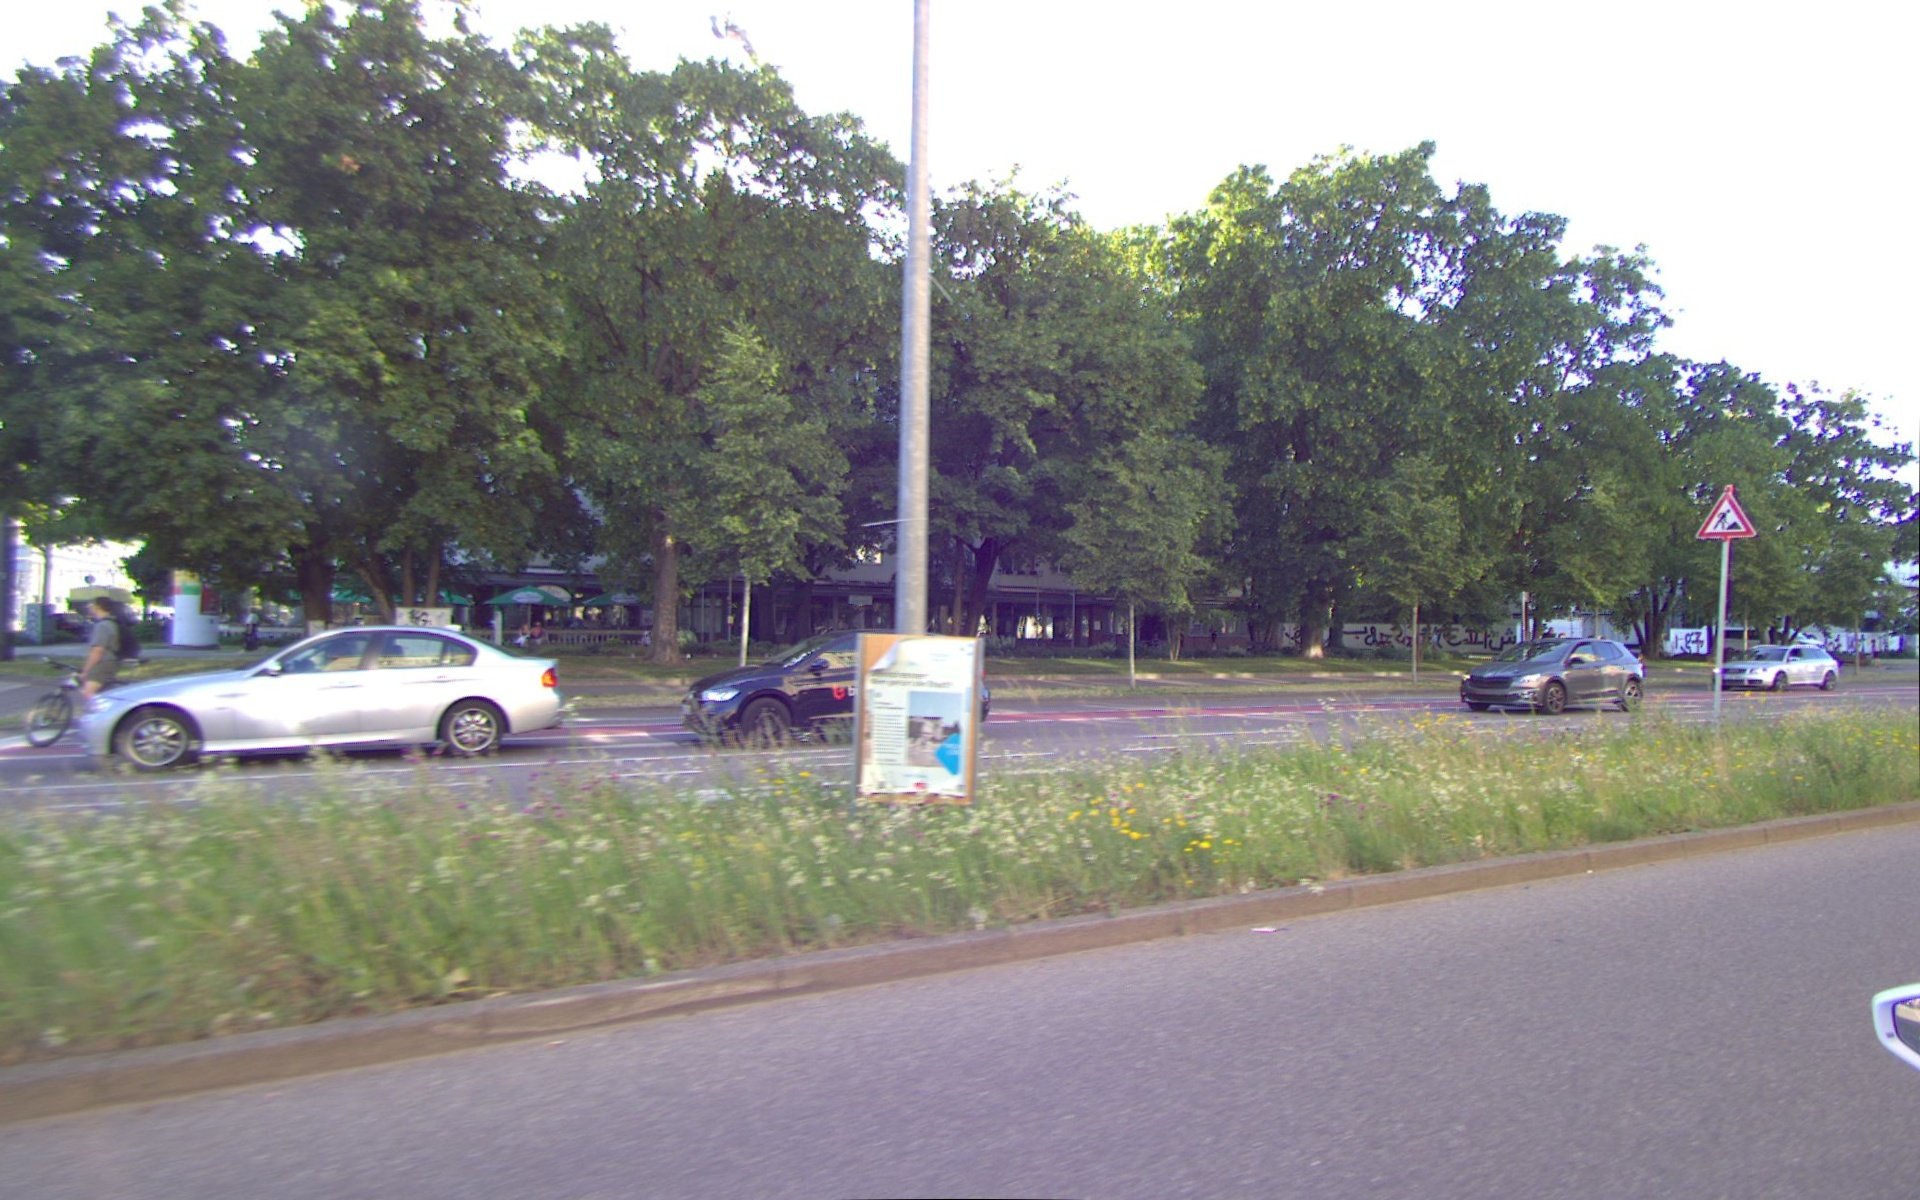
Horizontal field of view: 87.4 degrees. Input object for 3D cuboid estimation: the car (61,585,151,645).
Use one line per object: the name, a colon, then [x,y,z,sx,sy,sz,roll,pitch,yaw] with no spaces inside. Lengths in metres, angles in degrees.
car: [-45.581,0.834,53.763,2.568,2.991,5.051,2,-2,-28]

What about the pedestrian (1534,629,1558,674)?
pedestrian: [22.856,2.008,39.185,0.645,1.763,0.523,1,-1,-23]

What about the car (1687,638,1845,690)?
car: [25.583,2.001,31.882,4.519,1.546,1.930,1,-2,-21]

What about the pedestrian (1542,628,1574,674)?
pedestrian: [22.946,1.955,38.555,0.750,1.763,0.770,1,-1,-22]

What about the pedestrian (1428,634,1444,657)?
pedestrian: [34.730,3.318,73.291,0.733,1.662,0.723,1,-1,-20]

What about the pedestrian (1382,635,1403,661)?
pedestrian: [27.409,3.039,63.695,0.885,1.560,0.897,2,-1,-33]

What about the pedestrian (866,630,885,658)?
pedestrian: [-4.028,2.097,47.963,0.655,1.357,0.904,1,-1,-23]

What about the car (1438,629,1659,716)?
car: [11.850,1.399,20.222,4.007,1.585,1.987,2,-2,-26]

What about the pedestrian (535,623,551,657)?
pedestrian: [-16.950,1.623,40.825,0.591,1.357,0.729,1,-1,-23]

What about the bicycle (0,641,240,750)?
bicycle: [-10.284,1.147,12.302,2.209,1.256,0.776,1,-2,-12]

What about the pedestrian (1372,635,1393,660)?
pedestrian: [26.586,2.983,63.200,0.885,1.560,0.897,2,-1,-33]

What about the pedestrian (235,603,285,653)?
pedestrian: [-25.452,1.014,36.557,1.193,1.763,0.893,1,-1,-11]

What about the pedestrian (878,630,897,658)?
pedestrian: [-3.478,2.105,48.213,0.706,1.357,0.824,1,-1,-23]

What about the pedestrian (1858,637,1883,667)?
pedestrian: [47.508,2.712,52.400,0.928,1.548,0.612,1,-1,-21]

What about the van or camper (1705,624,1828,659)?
van or camper: [50.190,2.577,62.652,2.227,2.040,5.648,3,-3,-24]

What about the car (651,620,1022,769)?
car: [-1.614,1.157,13.336,4.490,1.697,1.987,2,-2,-26]

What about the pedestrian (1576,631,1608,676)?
pedestrian: [23.588,1.995,37.500,0.716,1.662,0.741,1,-1,-22]

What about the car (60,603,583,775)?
car: [-6.676,0.959,11.158,4.490,1.580,1.988,2,-5,-26]

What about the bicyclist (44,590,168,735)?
bicyclist: [-10.415,0.754,12.286,0.824,1.701,0.782,1,-2,-12]
